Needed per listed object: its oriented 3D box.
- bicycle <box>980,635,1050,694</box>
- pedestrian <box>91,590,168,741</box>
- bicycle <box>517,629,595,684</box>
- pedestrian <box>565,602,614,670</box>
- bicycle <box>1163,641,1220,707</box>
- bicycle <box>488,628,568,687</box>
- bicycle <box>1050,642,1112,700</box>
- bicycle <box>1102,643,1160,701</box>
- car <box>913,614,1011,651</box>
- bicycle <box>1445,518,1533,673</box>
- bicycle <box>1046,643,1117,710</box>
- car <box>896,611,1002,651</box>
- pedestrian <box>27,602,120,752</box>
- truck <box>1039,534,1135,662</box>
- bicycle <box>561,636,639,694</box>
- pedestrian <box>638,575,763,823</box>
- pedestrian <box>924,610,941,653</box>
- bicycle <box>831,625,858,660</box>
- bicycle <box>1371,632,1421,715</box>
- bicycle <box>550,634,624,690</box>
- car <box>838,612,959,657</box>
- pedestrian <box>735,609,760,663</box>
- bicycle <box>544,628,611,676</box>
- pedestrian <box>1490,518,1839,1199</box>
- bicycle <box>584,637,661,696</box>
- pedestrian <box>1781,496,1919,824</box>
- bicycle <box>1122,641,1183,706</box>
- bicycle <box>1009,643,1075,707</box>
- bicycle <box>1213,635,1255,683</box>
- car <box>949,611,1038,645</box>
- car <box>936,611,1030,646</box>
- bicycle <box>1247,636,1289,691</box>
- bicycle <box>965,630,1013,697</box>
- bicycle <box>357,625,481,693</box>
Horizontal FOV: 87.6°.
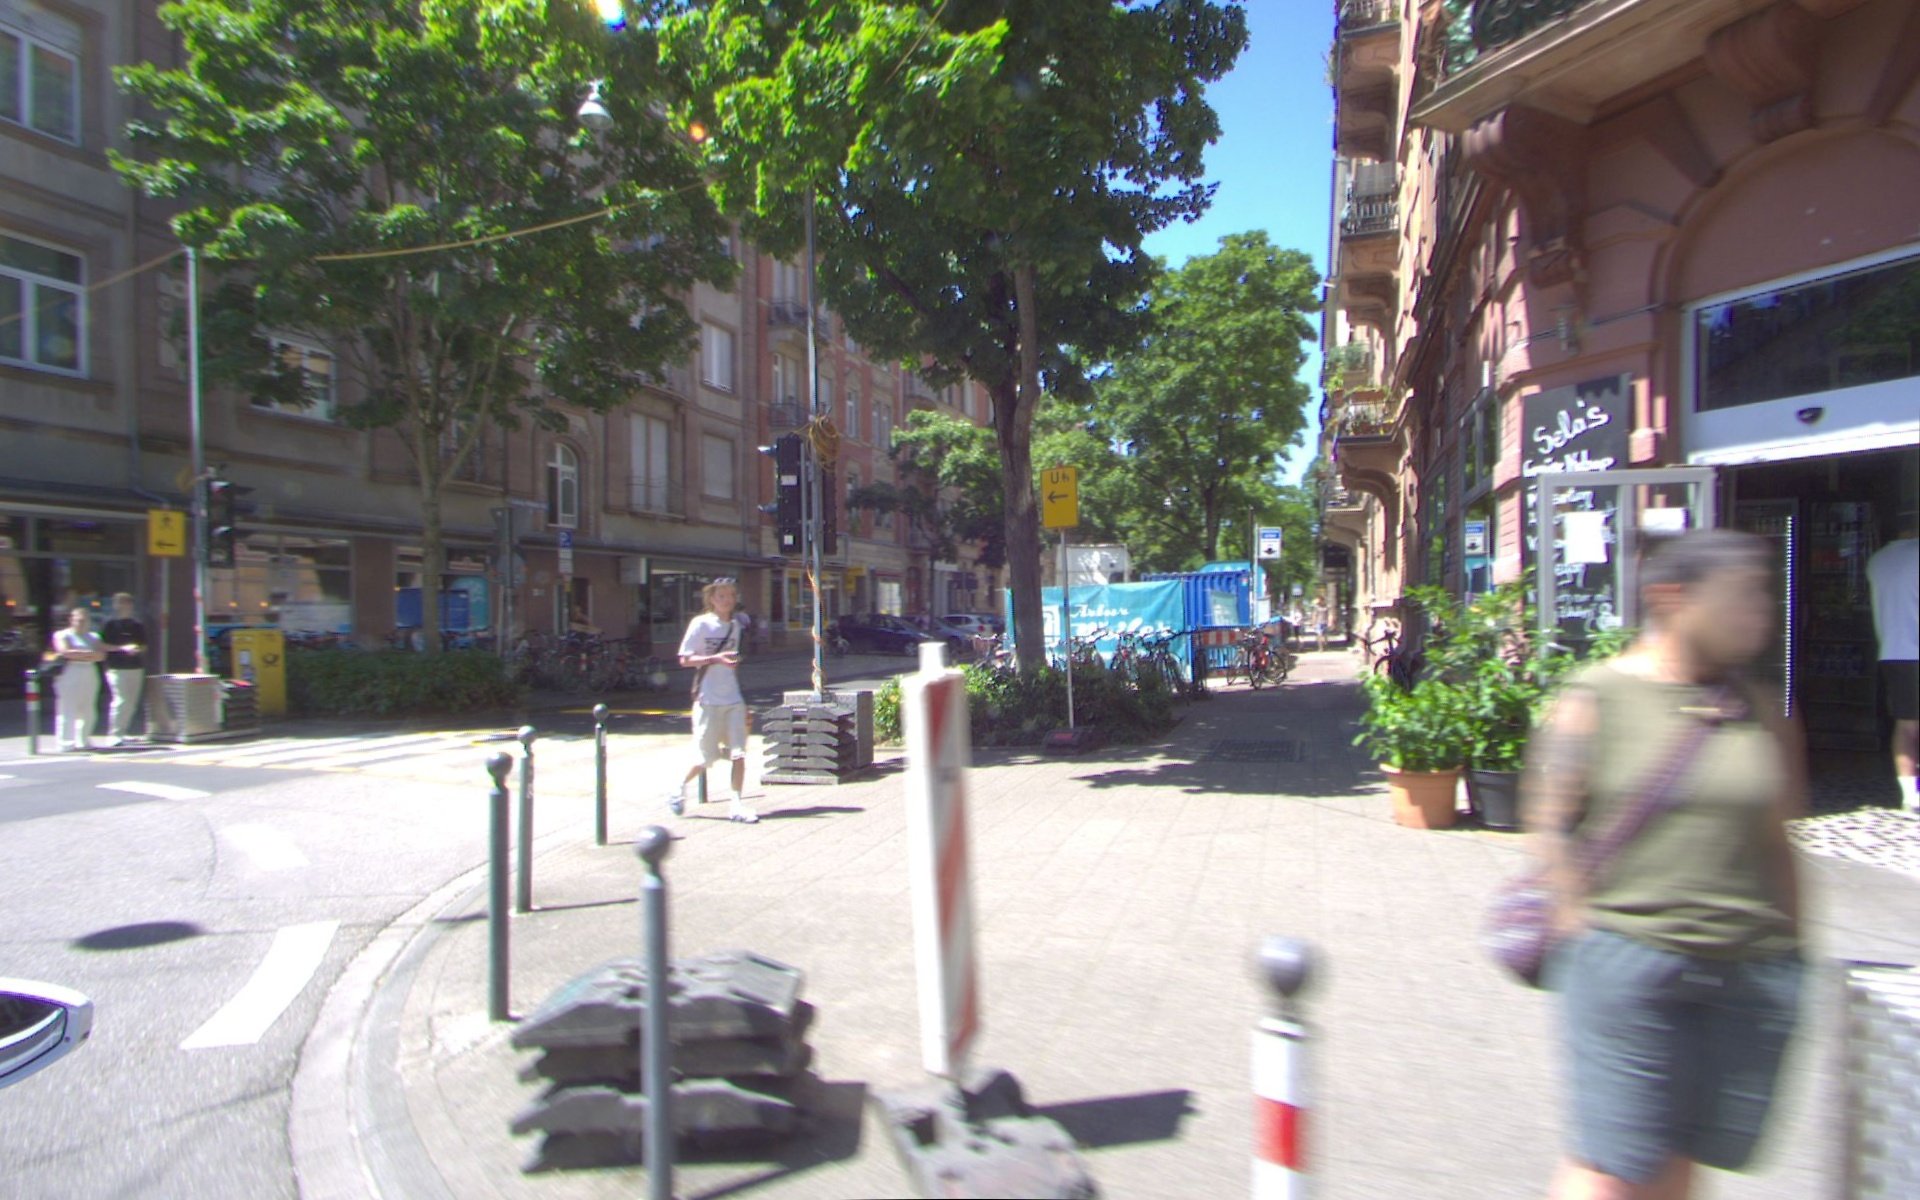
[{"bbox_3d":[0.963,1.055,16.941,0.501,0.883,2.069,0,0,23],"label":"bicycle"},{"bbox_3d":[-10.268,0.788,12.394,0.462,1.793,0.576,3,3,12],"label":"pedestrian"},{"bbox_3d":[-8.141,1.126,20.271,0.462,1.010,1.763,2,0,16],"label":"bicycle"},{"bbox_3d":[-9.264,0.893,25.034,0.773,1.655,0.857,0,0,19],"label":"pedestrian"},{"bbox_3d":[3.611,1.113,15.498,0.501,0.883,2.069,0,0,23],"label":"bicycle"},{"bbox_3d":[-8.707,1.143,20.251,0.462,1.095,1.763,2,0,16],"label":"bicycle"},{"bbox_3d":[2.130,1.196,17.390,0.501,0.883,2.069,0,0,23],"label":"bicycle"},{"bbox_3d":[2.962,1.205,17.207,0.501,0.883,2.069,0,0,23],"label":"bicycle"},{"bbox_3d":[0.087,1.355,42.185,3.784,1.458,1.790,0,0,18],"label":"car"},{"bbox_3d":[4.343,-0.022,8.283,0.501,1.167,1.423,0,0,22],"label":"bicycle"},{"bbox_3d":[1.862,1.116,15.066,0.501,0.883,2.069,0,0,23],"label":"bicycle"},{"bbox_3d":[-0.429,1.183,39.241,3.784,1.458,1.790,0,0,18],"label":"car"},{"bbox_3d":[-10.390,0.878,11.755,0.415,1.668,0.703,3,3,12],"label":"pedestrian"},{"bbox_3d":[4.366,-0.012,33.785,2.249,4.006,4.467,0,0,21],"label":"truck"},{"bbox_3d":[-6.978,1.236,19.493,0.462,1.010,1.763,2,0,16],"label":"bicycle"},{"bbox_3d":[-1.963,0.717,7.551,0.861,1.755,0.475,-2,-1,39],"label":"pedestrian"},{"bbox_3d":[-1.040,1.190,37.761,0.534,1.604,0.477,0,0,18],"label":"pedestrian"},{"bbox_3d":[-3.718,1.343,32.086,0.534,1.059,1.934,0,0,-17],"label":"bicycle"},{"bbox_3d":[5.883,0.960,13.561,0.513,1.021,1.693,0,0,20],"label":"bicycle"},{"bbox_3d":[-7.441,1.208,20.030,0.462,1.019,1.687,2,0,16],"label":"bicycle"},{"bbox_3d":[-2.116,1.153,34.524,3.784,1.458,1.790,0,0,18],"label":"car"},{"bbox_3d":[-6.396,1.076,30.164,0.550,1.636,0.491,0,0,25],"label":"pedestrian"},{"bbox_3d":[-8.858,1.190,23.234,0.495,1.010,1.727,2,0,16],"label":"bicycle"},{"bbox_3d":[1.289,0.665,1.908,0.471,1.581,0.459,0,0,26],"label":"pedestrian"},{"bbox_3d":[-6.459,1.252,19.269,0.462,1.010,1.763,2,0,16],"label":"bicycle"},{"bbox_3d":[5.483,0.332,5.849,0.450,1.844,0.937,-4,2,-30],"label":"pedestrian"},{"bbox_3d":[3.040,1.121,15.663,0.501,0.883,2.069,0,0,23],"label":"bicycle"},{"bbox_3d":[1.304,1.138,15.623,0.501,0.883,1.740,0,0,23],"label":"bicycle"},{"bbox_3d":[5.639,1.188,20.546,0.501,0.883,2.068,0,0,25],"label":"bicycle"},{"bbox_3d":[1.566,1.259,46.253,3.784,1.458,1.790,0,0,18],"label":"car"},{"bbox_3d":[1.024,1.228,44.172,3.784,1.458,1.790,0,0,18],"label":"car"},{"bbox_3d":[5.599,1.123,18.161,0.501,0.883,2.069,0,0,23],"label":"bicycle"},{"bbox_3d":[0.538,1.107,17.945,0.500,1.121,1.783,0,0,14],"label":"bicycle"},{"bbox_3d":[-9.921,1.053,18.420,0.510,1.147,1.973,0,0,37],"label":"bicycle"}]
